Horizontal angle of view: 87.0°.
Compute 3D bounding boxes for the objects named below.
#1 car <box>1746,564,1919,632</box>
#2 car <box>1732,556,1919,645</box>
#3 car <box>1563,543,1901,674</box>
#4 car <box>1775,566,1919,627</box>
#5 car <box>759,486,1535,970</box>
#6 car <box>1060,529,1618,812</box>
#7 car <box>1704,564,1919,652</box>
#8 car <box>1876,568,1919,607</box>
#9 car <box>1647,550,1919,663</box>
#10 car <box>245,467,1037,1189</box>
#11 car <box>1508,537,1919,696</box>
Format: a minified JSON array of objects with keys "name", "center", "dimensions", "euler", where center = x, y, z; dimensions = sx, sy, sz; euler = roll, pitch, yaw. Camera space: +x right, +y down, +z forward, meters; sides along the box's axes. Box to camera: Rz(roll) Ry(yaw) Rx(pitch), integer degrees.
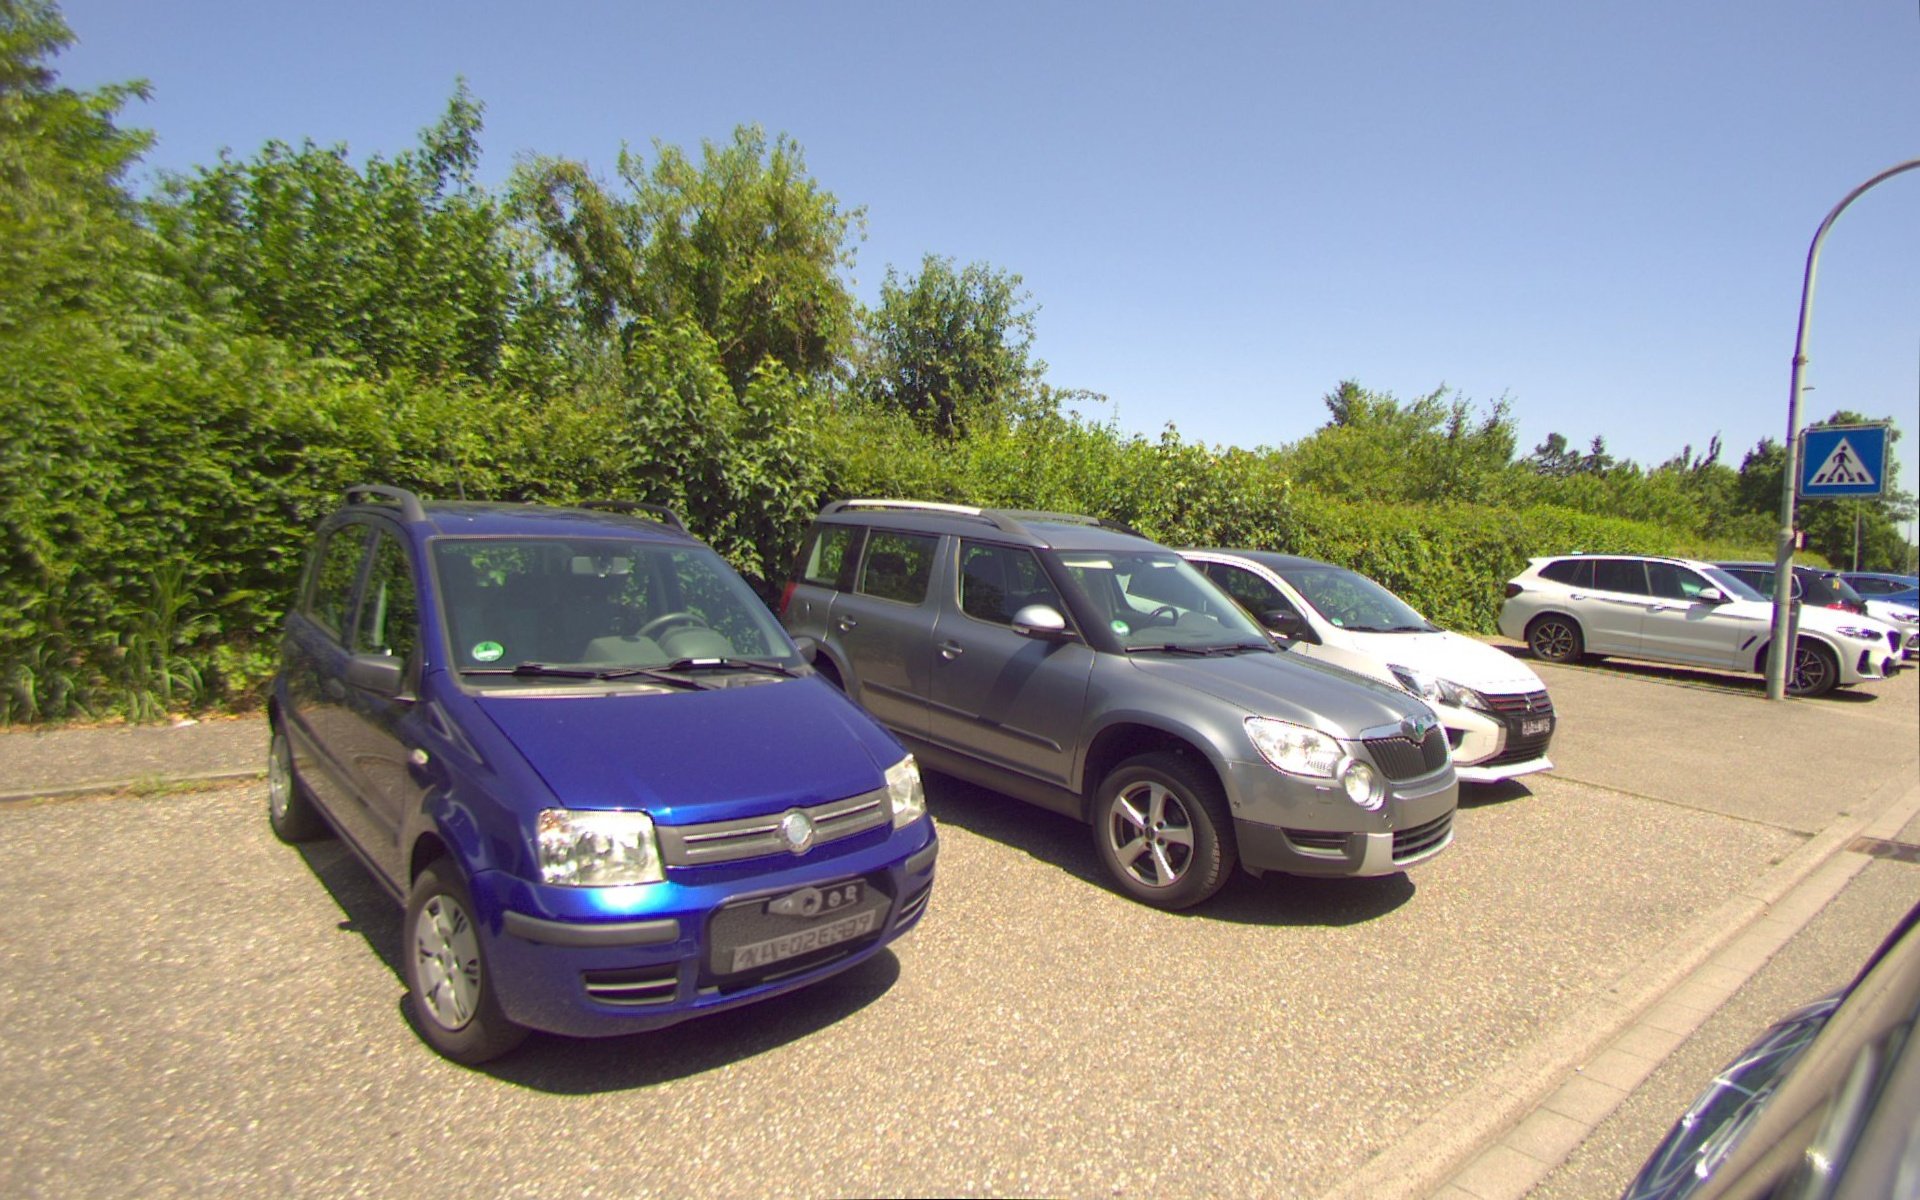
[{"name":"car","center":[23.705,-0.082,26.971],"dimensions":[1.620,1.463,4.036],"euler":[-1,6,-41]},{"name":"car","center":[19.765,-0.009,22.293],"dimensions":[1.644,1.661,4.036],"euler":[-1,6,-41]},{"name":"car","center":[12.261,0.026,16.283],"dimensions":[1.735,1.706,3.982],"euler":[-1,5,-41]},{"name":"car","center":[26.012,-0.090,28.673],"dimensions":[1.620,1.434,4.252],"euler":[-1,6,-41]},{"name":"car","center":[0.691,0.303,5.637],"dimensions":[1.636,1.659,3.967],"euler":[-1,6,-44]},{"name":"car","center":[2.637,0.313,7.835],"dimensions":[1.579,1.467,3.705],"euler":[0,6,-36]},{"name":"car","center":[17.662,0.125,20.351],"dimensions":[1.651,1.425,4.035],"euler":[-1,6,-41]},{"name":"car","center":[49.827,-0.523,51.538],"dimensions":[1.668,1.872,4.486],"euler":[-1,6,-45]},{"name":"car","center":[15.357,0.031,18.597],"dimensions":[1.746,1.661,4.167],"euler":[-1,6,-43]},{"name":"car","center":[-1.538,0.341,3.956],"dimensions":[1.514,1.545,3.457],"euler":[-1,6,-45]},{"name":"car","center":[10.496,0.064,14.264],"dimensions":[1.818,1.750,4.466],"euler":[-2,5,-39]}]
